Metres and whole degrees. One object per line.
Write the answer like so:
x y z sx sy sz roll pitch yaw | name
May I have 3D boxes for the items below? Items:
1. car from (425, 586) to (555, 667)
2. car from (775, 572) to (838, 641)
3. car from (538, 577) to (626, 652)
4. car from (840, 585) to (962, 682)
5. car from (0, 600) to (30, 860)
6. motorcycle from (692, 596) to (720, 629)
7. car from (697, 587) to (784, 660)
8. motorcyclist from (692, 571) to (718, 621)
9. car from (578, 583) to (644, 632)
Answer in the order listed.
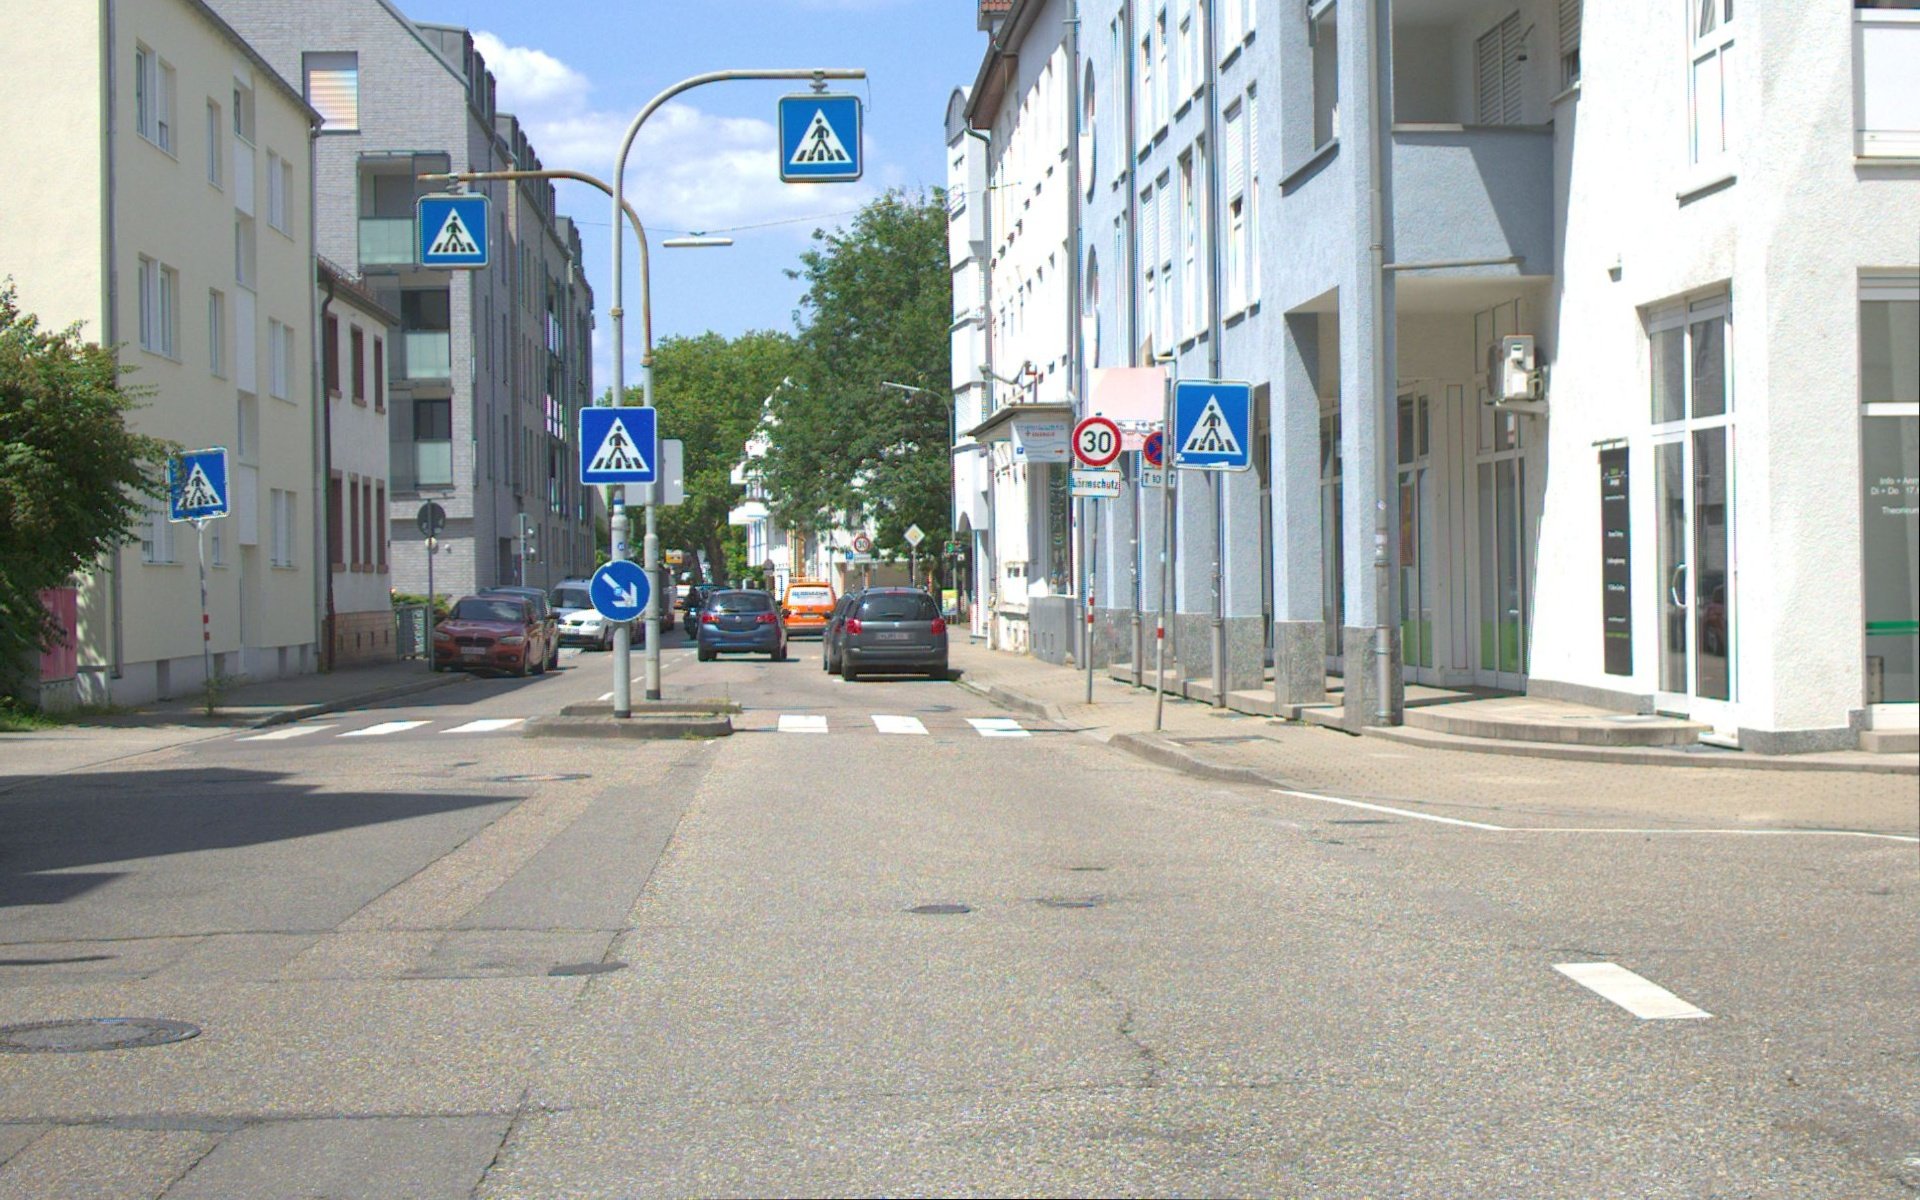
-8.593 0.470 63.147 1.834 1.412 4.290 -1 0 -1 | car
-4.651 0.177 104.071 1.839 2.007 4.001 -1 1 -3 | car
-9.950 0.352 90.810 1.757 1.885 4.336 1 0 1 | car
-1.001 0.525 56.130 1.709 1.503 4.001 -1 0 -5 | car
-6.237 0.751 17.550 1.782 1.453 4.635 -1 0 -1 | car
-8.398 0.408 113.647 0.713 1.025 2.239 -2 1 1 | motorcycle
-4.506 0.469 70.926 1.715 1.397 4.001 -1 1 -3 | car
-8.415 -0.139 113.593 0.713 1.629 1.069 -2 1 1 | motorcyclist
-10.557 0.217 104.296 1.723 1.451 4.005 0 0 -2 | car
